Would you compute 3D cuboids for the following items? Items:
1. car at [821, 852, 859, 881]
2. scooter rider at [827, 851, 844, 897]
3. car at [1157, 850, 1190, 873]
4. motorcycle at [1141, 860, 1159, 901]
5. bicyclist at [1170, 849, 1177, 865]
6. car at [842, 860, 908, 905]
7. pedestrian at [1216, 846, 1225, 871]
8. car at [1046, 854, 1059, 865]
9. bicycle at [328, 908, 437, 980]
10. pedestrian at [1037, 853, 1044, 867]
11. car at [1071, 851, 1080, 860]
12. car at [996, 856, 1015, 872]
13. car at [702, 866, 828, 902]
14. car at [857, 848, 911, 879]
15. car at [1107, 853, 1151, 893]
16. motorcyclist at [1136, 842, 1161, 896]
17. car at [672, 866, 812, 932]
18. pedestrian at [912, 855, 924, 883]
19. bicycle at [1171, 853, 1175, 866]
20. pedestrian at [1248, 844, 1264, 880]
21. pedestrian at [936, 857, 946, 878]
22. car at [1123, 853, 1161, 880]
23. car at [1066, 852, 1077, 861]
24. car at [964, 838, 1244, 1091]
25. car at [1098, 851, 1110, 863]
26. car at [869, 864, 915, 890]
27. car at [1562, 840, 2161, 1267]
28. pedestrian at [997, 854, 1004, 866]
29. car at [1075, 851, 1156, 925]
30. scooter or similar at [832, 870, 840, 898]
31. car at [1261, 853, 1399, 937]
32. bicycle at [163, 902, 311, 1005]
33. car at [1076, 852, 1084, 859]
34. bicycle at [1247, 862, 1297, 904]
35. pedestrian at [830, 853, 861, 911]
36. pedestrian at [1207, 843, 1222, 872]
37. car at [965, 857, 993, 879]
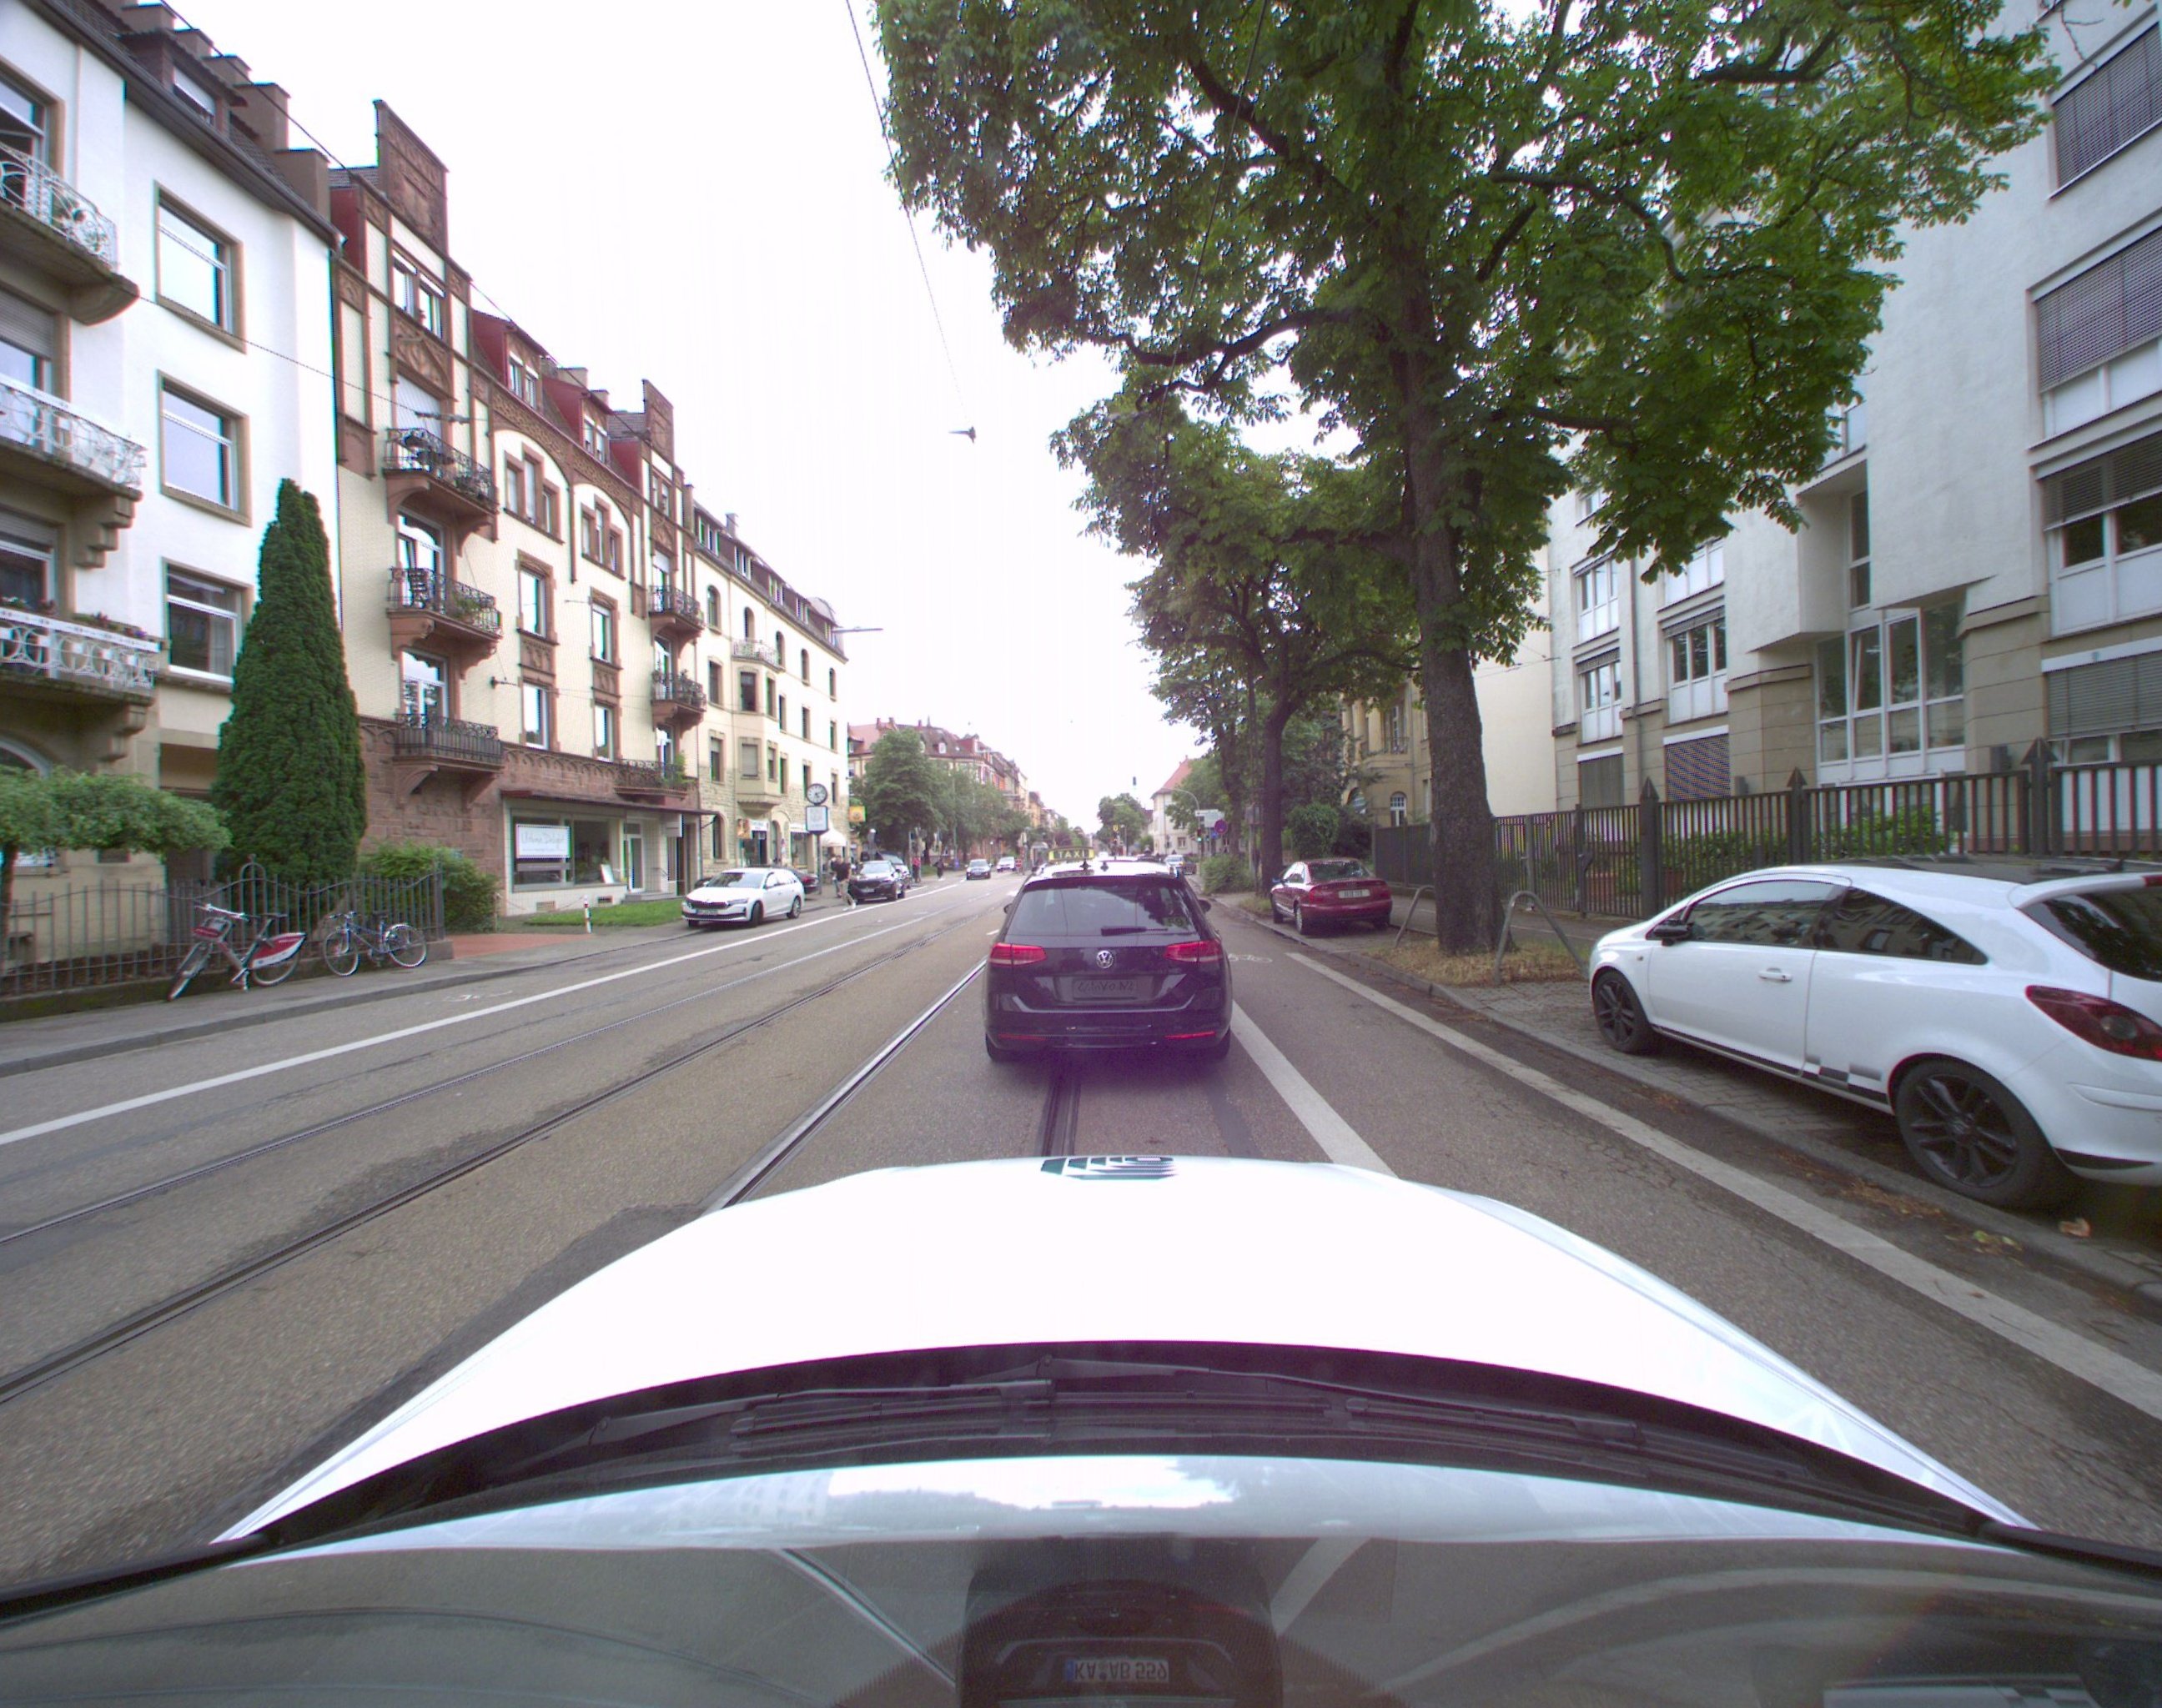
[{"bbox_3d":[-23.031,1.191,77.693,2.193,2.527,5.328,-2,0,-30],"label":"car"},{"bbox_3d":[-11.042,0.882,36.616,0.643,2.013,0.754,-2,0,-13],"label":"scooter rider"},{"bbox_3d":[6.565,0.555,58.310,1.986,1.577,4.001,-1,-1,2],"label":"car"},{"bbox_3d":[2.213,0.842,26.395,0.445,1.235,1.907,-2,0,2],"label":"motorcycle"},{"bbox_3d":[9.236,0.260,81.143,0.647,1.568,0.697,-2,0,8],"label":"bicyclist"},{"bbox_3d":[-8.406,1.109,33.635,1.881,1.611,4.875,-4,0,-7],"label":"car"},{"bbox_3d":[10.580,0.340,61.803,0.510,1.831,0.420,-5,0,18],"label":"pedestrian"},{"bbox_3d":[-4.516,0.923,128.911,1.715,1.622,3.864,-2,0,1],"label":"car"},{"bbox_3d":[-10.825,1.374,12.674,0.331,0.938,1.516,-2,0,1],"label":"bicycle"},{"bbox_3d":[-4.539,0.678,91.764,0.711,1.520,0.590,-2,0,3],"label":"pedestrian"},{"bbox_3d":[-1.173,0.335,166.153,1.715,1.622,3.864,-2,0,1],"label":"car"},{"bbox_3d":[-7.760,1.044,84.055,1.695,1.496,3.926,-3,0,-3],"label":"car"},{"bbox_3d":[-12.963,1.235,33.594,4.415,1.370,1.878,1,0,-3],"label":"car"},{"bbox_3d":[-16.719,0.832,68.883,2.197,2.417,5.316,-2,0,-41],"label":"car"},{"bbox_3d":[1.970,0.741,34.402,1.717,1.546,4.002,-1,0,2],"label":"car"},{"bbox_3d":[2.183,0.485,26.522,0.700,1.692,0.805,-2,0,1],"label":"motorcyclist"},{"bbox_3d":[-9.003,1.126,22.094,1.741,1.484,4.610,-2,0,1],"label":"car"},{"bbox_3d":[-11.024,1.001,54.971,0.621,1.842,0.609,-2,0,-1],"label":"pedestrian"},{"bbox_3d":[9.162,0.542,81.053,0.295,1.223,1.434,-2,0,9],"label":"bicycle"},{"bbox_3d":[8.905,0.396,41.444,0.630,1.815,0.726,-2,0,-1],"label":"pedestrian"},{"bbox_3d":[-11.500,1.083,66.885,0.587,1.663,0.839,-2,0,1],"label":"pedestrian"},{"bbox_3d":[3.659,0.715,48.233,1.881,1.408,4.009,-2,0,8],"label":"car"},{"bbox_3d":[-1.763,0.392,151.270,1.715,1.622,3.864,-2,0,1],"label":"car"},{"bbox_3d":[0.208,0.687,7.096,1.717,1.546,4.002,-1,0,2],"label":"car"},{"bbox_3d":[4.142,0.588,147.243,2.025,2.014,4.001,-1,-1,2],"label":"car"},{"bbox_3d":[-10.680,1.288,46.297,1.644,1.361,4.128,1,0,-1],"label":"car"},{"bbox_3d":[4.693,0.695,4.759,1.596,1.435,3.779,-4,0,3],"label":"car"},{"bbox_3d":[-10.513,0.829,106.020,0.582,1.520,0.653,-2,0,37],"label":"pedestrian"},{"bbox_3d":[0.808,0.730,19.478,1.717,1.546,4.002,-1,0,2],"label":"car"},{"bbox_3d":[-11.007,1.348,36.622,0.231,1.234,0.949,-2,0,-13],"label":"scooter or similar"},{"bbox_3d":[4.970,0.743,16.853,1.596,1.399,4.229,-4,0,2],"label":"car"},{"bbox_3d":[-10.666,1.211,10.361,0.385,1.102,1.620,-2,0,-9],"label":"bicycle"},{"bbox_3d":[-0.158,0.331,184.046,1.715,1.464,3.864,-2,0,1],"label":"car"},{"bbox_3d":[5.717,0.842,24.293,1.915,1.198,0.428,0,-1,-43],"label":"bicycle"},{"bbox_3d":[-7.677,0.904,26.600,0.665,1.844,0.882,-2,0,0],"label":"pedestrian"},{"bbox_3d":[8.698,0.254,53.011,0.604,1.831,0.584,-5,0,-17],"label":"pedestrian"},{"bbox_3d":[-7.405,0.981,59.214,1.604,1.422,3.484,-3,0,-1],"label":"car"}]
